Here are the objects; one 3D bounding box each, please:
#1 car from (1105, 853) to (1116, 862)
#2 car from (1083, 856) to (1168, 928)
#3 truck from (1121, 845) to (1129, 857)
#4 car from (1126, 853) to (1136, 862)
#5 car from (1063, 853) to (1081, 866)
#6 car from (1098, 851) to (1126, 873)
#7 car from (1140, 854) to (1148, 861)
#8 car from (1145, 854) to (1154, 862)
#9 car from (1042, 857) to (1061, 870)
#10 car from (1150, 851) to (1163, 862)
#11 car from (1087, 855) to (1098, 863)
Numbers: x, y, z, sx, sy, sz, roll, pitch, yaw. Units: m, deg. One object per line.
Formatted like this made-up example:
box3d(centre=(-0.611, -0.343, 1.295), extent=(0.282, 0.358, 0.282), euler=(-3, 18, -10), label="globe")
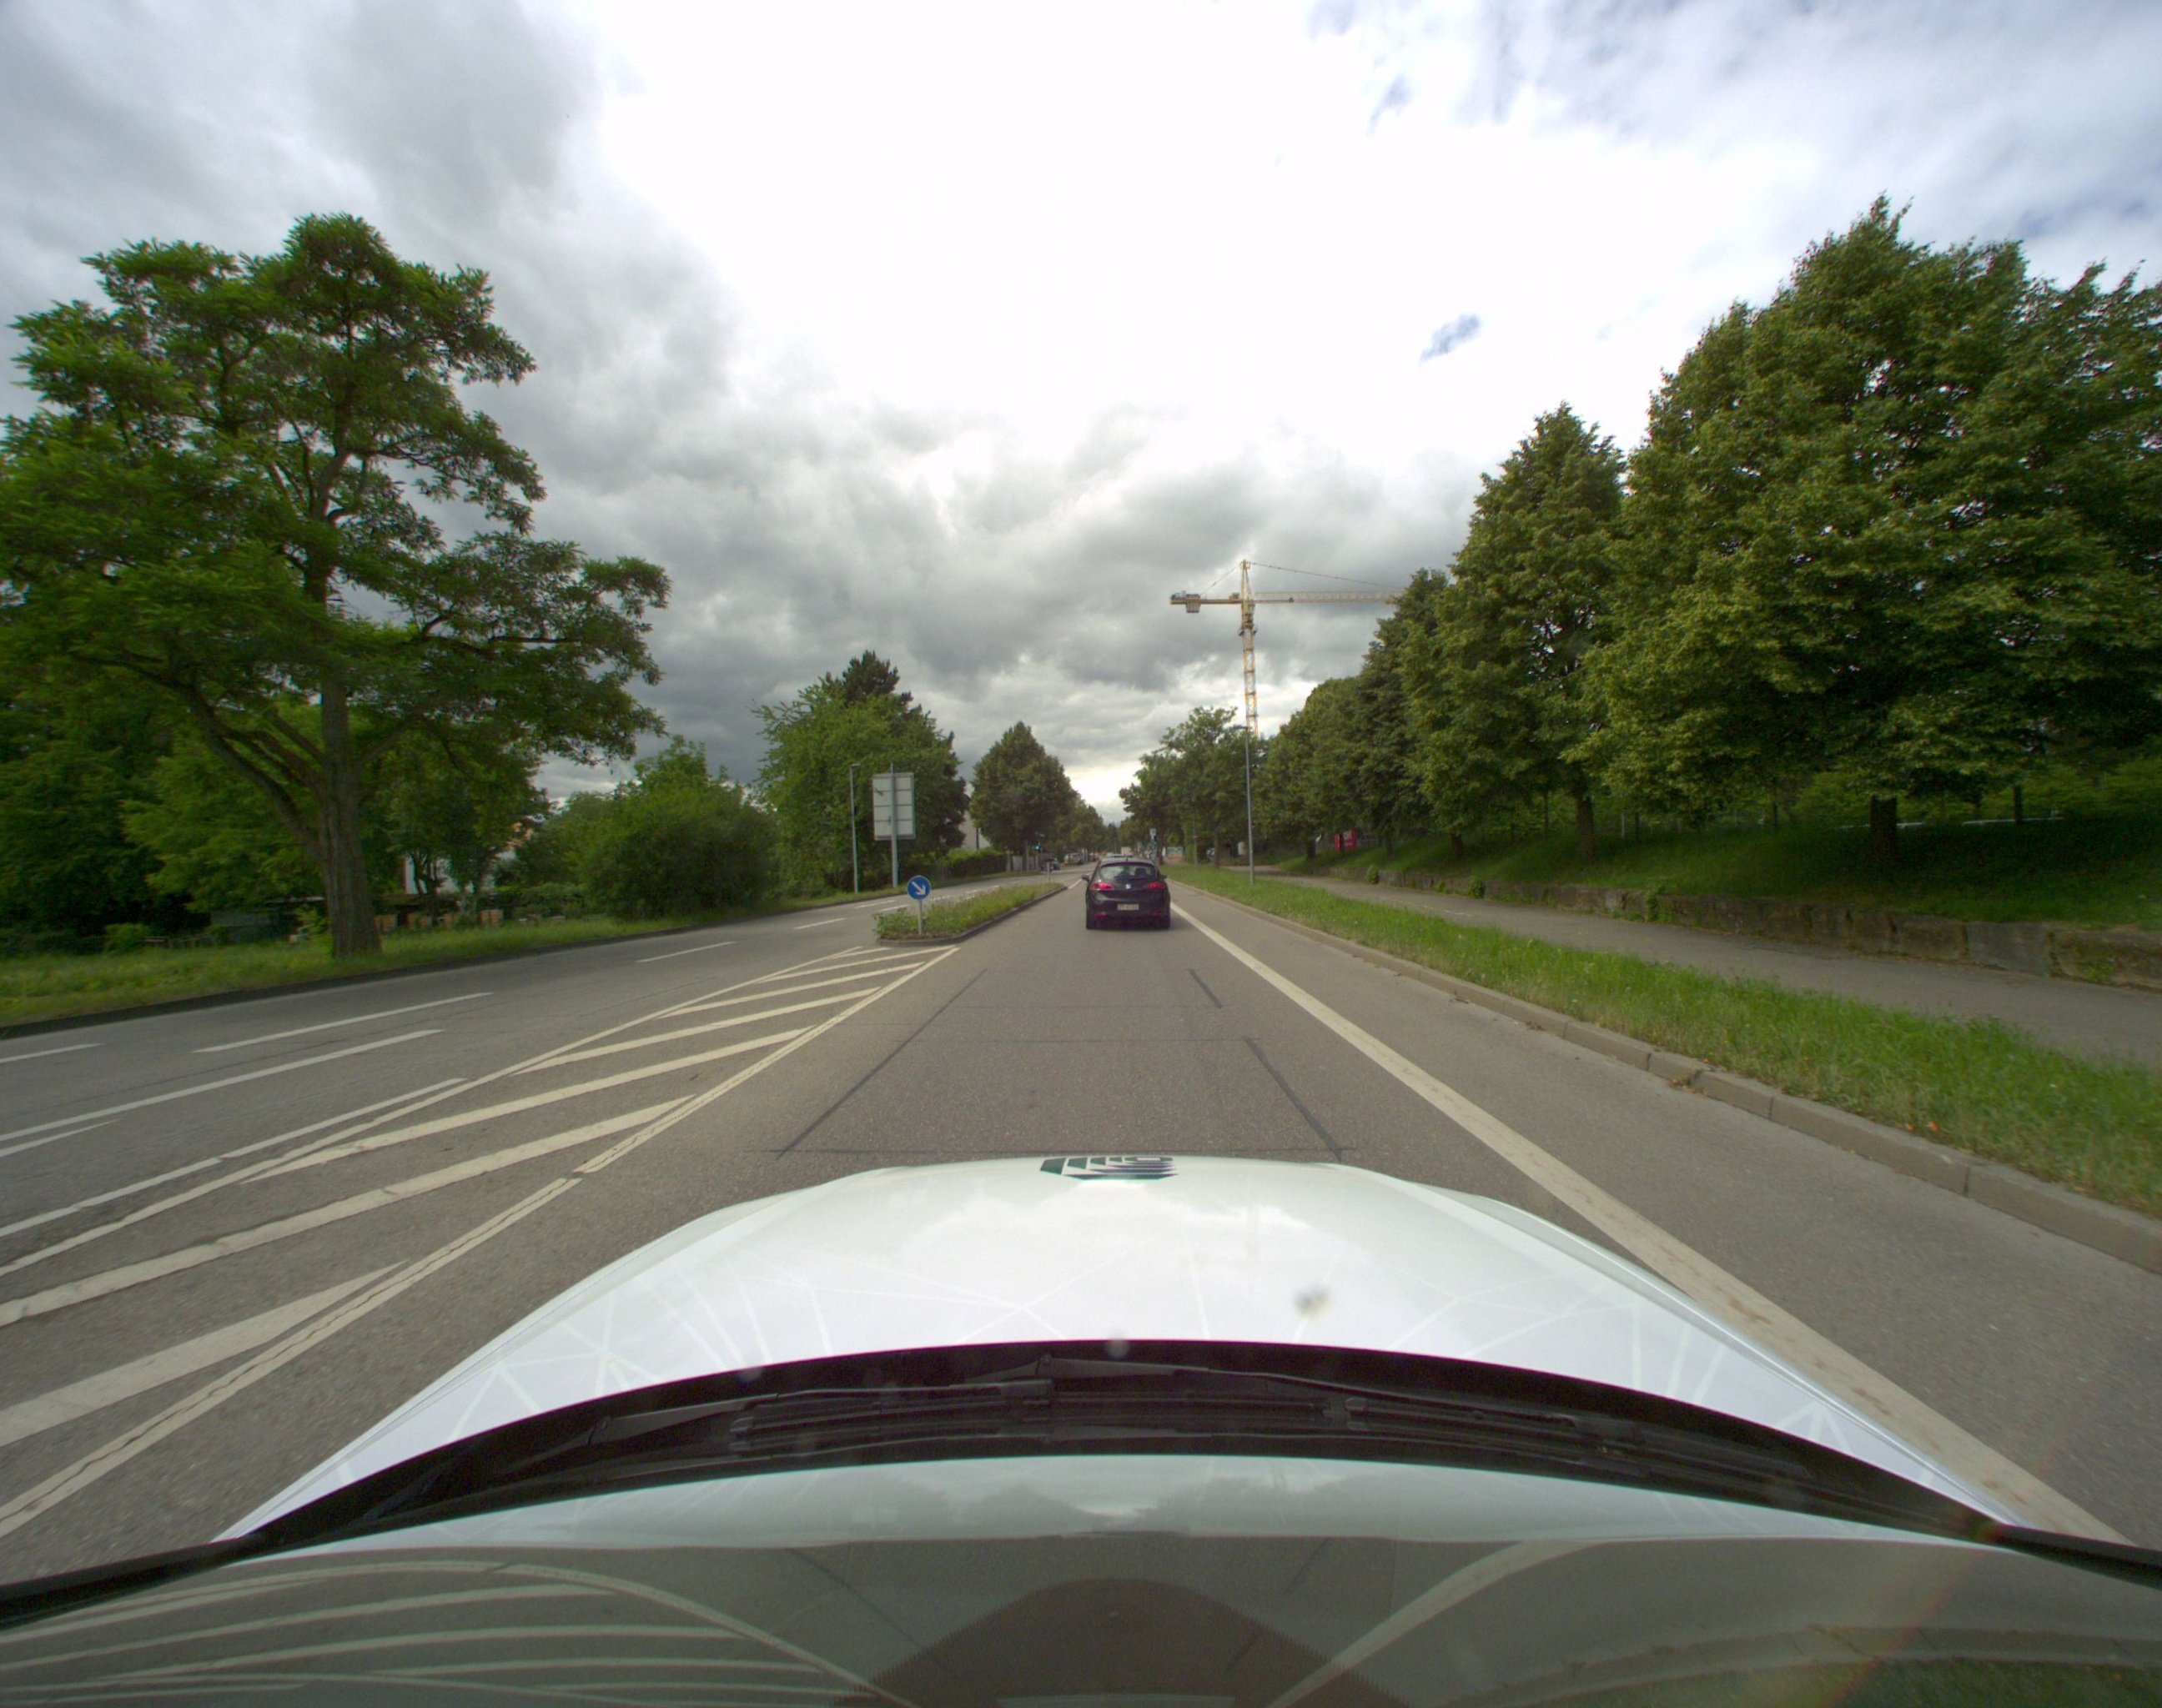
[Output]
box3d(centre=(6.023, 0.673, 166.253), extent=(1.866, 1.635, 4.347), euler=(-3, 0, 5), label="car")
box3d(centre=(0.944, 0.759, 17.778), extent=(1.656, 1.401, 3.813), euler=(0, 0, 2), label="car")
box3d(centre=(12.641, -0.841, 236.233), extent=(2.269, 3.104, 8.516), euler=(0, -1, 3), label="truck")
box3d(centre=(9.959, 0.772, 160.935), extent=(1.873, 1.689, 4.217), euler=(-2, 0, 3), label="car")
box3d(centre=(-1.307, 0.822, 122.050), extent=(2.091, 1.896, 5.789), euler=(-3, 0, 3), label="car")
box3d(centre=(2.218, 0.552, 57.199), extent=(1.838, 1.510, 3.816), euler=(0, 0, 4), label="car")
box3d(centre=(14.611, 0.799, 188.887), extent=(1.681, 1.564, 4.217), euler=(-3, 0, 3), label="car")
box3d(centre=(13.722, 0.753, 164.331), extent=(1.681, 1.564, 4.217), euler=(-2, 0, 3), label="car")
box3d(centre=(-3.338, 1.084, 92.883), extent=(1.711, 1.395, 4.805), euler=(-3, 0, 3), label="car")
box3d(centre=(10.730, 0.291, 116.002), extent=(1.681, 1.490, 3.358), euler=(-2, 0, 3), label="car")
box3d(centre=(2.466, 1.082, 179.260), extent=(2.091, 1.506, 5.789), euler=(-3, 0, 3), label="car")
